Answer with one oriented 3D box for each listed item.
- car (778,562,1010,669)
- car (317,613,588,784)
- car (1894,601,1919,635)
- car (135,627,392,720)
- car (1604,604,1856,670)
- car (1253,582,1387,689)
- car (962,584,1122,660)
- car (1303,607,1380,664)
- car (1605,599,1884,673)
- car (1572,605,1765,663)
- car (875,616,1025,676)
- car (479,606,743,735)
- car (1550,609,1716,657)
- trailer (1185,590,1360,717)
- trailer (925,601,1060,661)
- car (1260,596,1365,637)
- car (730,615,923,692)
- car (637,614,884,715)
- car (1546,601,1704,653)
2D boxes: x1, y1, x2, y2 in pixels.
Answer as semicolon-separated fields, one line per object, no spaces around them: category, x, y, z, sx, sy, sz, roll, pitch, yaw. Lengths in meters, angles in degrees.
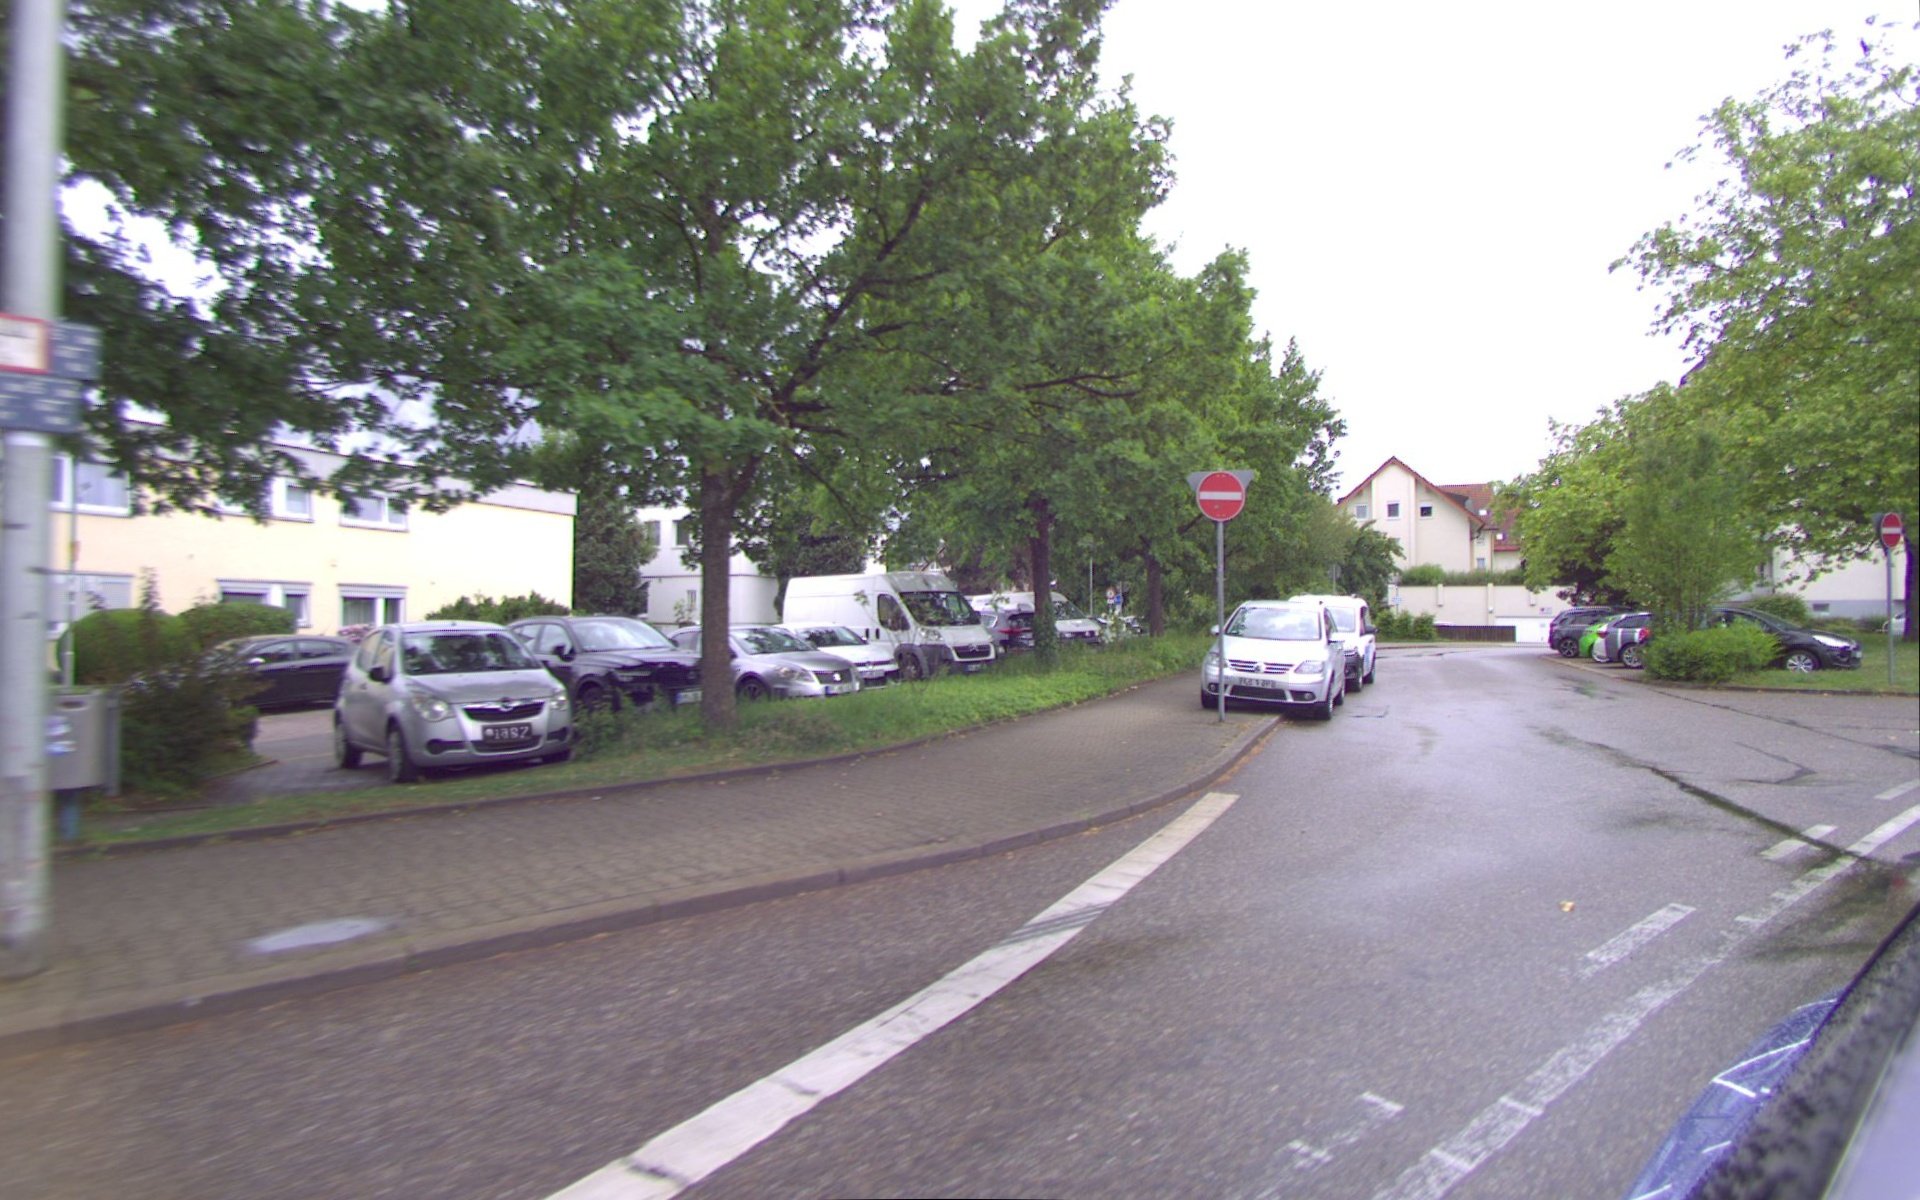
car;-1.630;0.306;22.271;1.966;2.039;5.828;0;0;-42
car;-5.587;0.910;10.940;1.730;1.505;3.650;0;-1;-42
car;43.393;0.780;44.788;1.725;1.499;3.742;0;0;21
car;-13.245;1.325;19.501;1.674;1.529;3.794;-1;-1;25
car;18.520;0.820;24.559;1.731;1.461;4.585;0;0;-37
car;7.299;0.648;20.252;1.981;1.905;4.172;-1;-1;27
car;2.306;0.606;29.603;1.964;2.039;4.761;0;0;-38
car;10.160;0.881;26.807;1.745;1.400;4.155;-1;-1;23
car;17.104;0.722;22.298;1.731;1.461;4.585;0;0;-37
car;19.401;0.865;27.870;1.731;1.461;4.020;0;0;-37
car;-0.325;1.060;24.661;1.619;1.313;3.997;0;-1;-37
car;-4.757;0.850;13.617;3.639;1.505;1.735;-1;-1;39
car;21.001;0.991;31.714;1.731;1.388;4.020;0;0;-37
trailer;4.752;0.679;14.960;1.978;1.562;4.390;-1;-1;24
trailer;0.769;0.793;26.846;1.678;1.455;4.003;0;-1;-31
car;18.120;0.851;52.056;4.945;2.039;2.067;-1;-1;26
car;-2.685;0.964;19.682;1.819;1.313;3.992;0;-1;-41
car;-3.194;0.916;15.766;4.026;1.354;1.708;-1;-1;42
car;22.580;0.868;34.562;1.727;1.647;4.302;0;0;-21
